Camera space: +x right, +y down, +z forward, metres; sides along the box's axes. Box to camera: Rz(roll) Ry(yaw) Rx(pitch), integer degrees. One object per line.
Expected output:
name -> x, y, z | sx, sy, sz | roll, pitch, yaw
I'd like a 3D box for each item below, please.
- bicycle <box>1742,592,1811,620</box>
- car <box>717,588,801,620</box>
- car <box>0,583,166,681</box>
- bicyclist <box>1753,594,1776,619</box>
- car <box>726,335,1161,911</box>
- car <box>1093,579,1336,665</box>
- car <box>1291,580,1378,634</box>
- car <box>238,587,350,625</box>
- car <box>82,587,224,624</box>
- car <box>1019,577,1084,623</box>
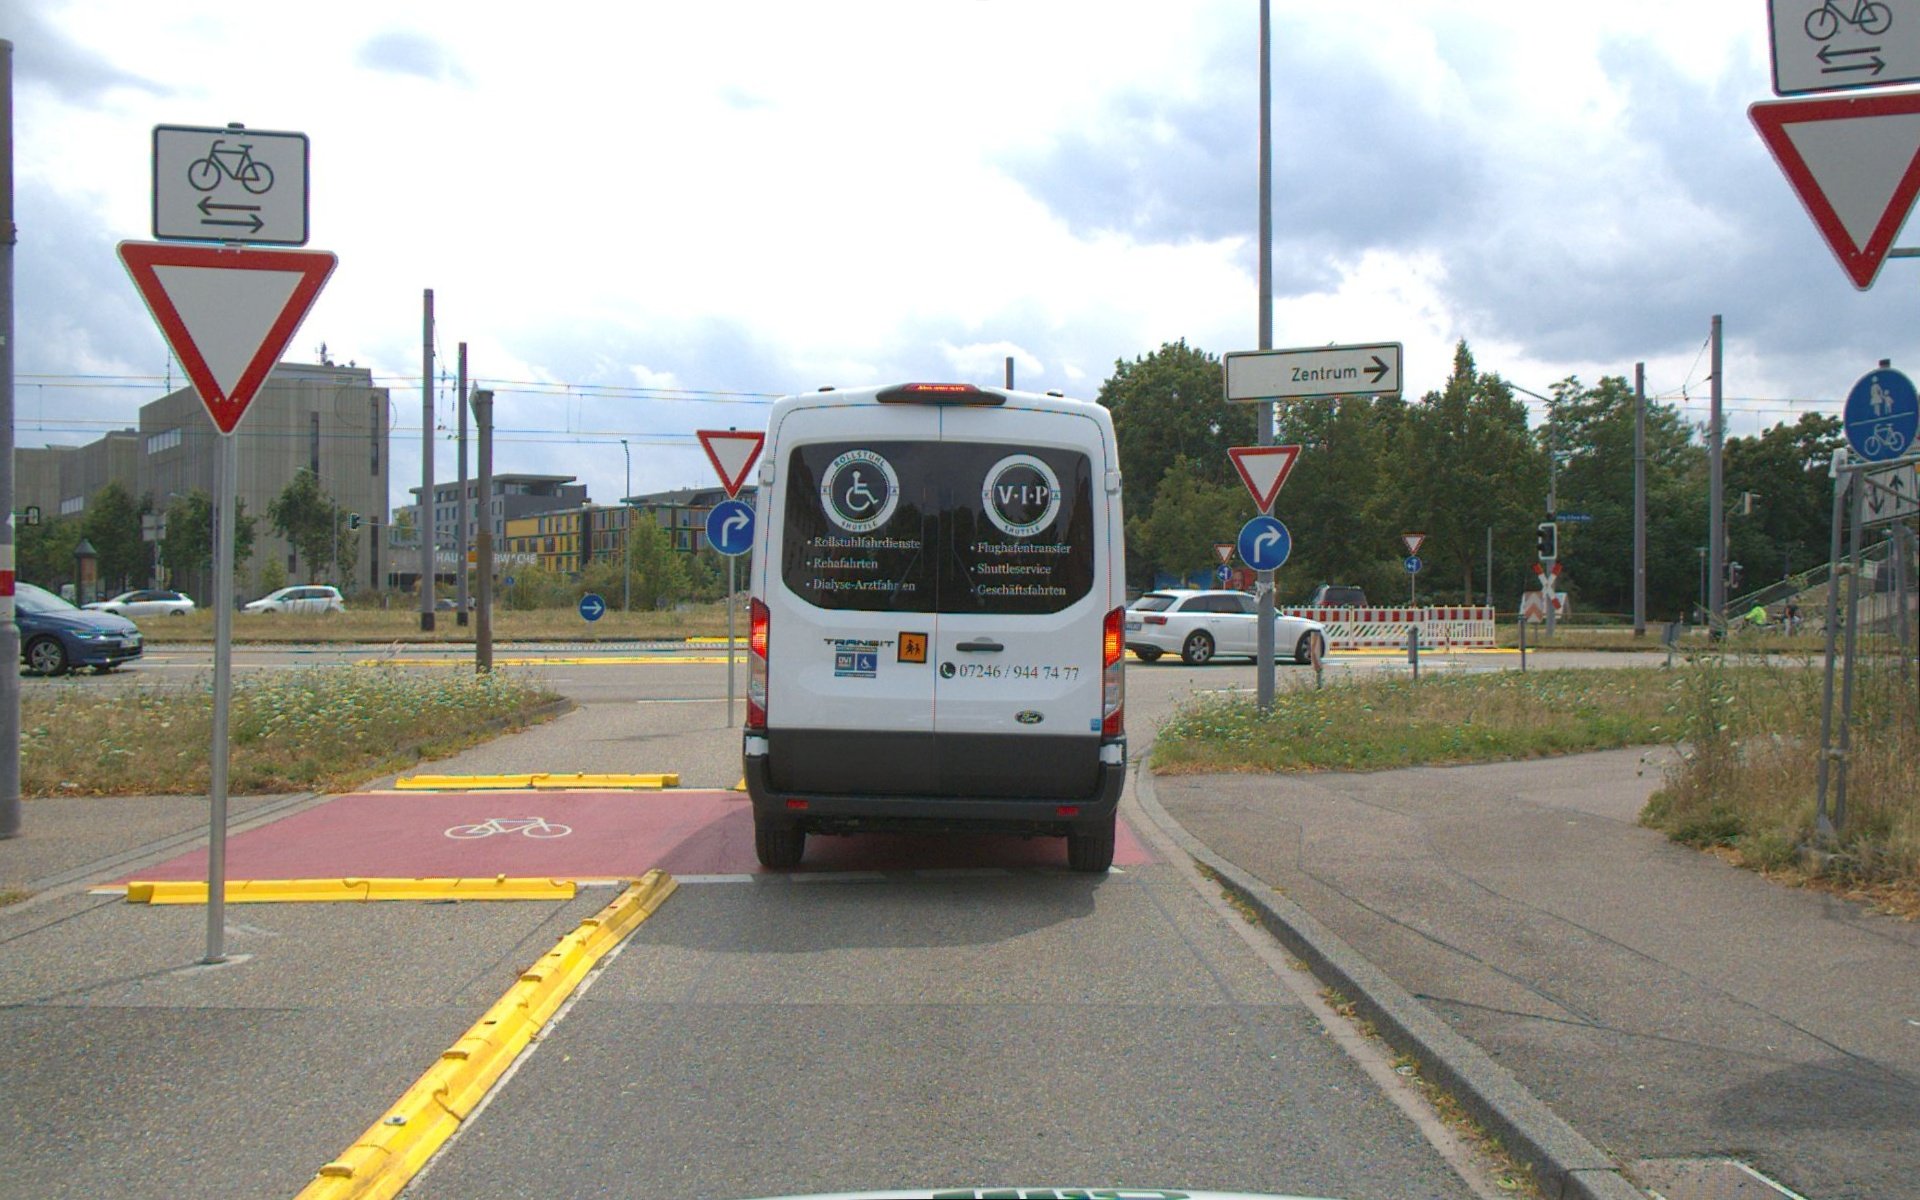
bicycle -> 29.286, 0.218, 59.327 | 2.162, 0.954, 0.611 | 0, -2, 39
car -> -11.012, 0.225, 90.844 | 4.318, 1.695, 1.909 | 0, 0, -42
car -> -15.308, 0.493, 26.773 | 4.018, 1.523, 1.802 | 0, 0, 1
bicyclist -> 28.977, 0.232, 59.564 | 0.645, 0.899, 0.604 | 0, -2, 38
car -> 0.049, 0.111, 10.736 | 2.082, 2.745, 5.633 | 0, 0, 3
car -> 5.206, 0.420, 33.692 | 4.683, 1.646, 1.981 | 0, 0, -28
car -> 12.844, 0.285, 56.959 | 1.953, 1.781, 3.998 | 0, -1, -2
car -> -30.183, 0.267, 75.041 | 1.905, 1.695, 4.326 | 0, 0, 43
car -> -34.439, 0.220, 70.693 | 1.967, 1.508, 5.146 | 0, 0, 45
car -> 4.827, 0.034, 88.025 | 1.995, 2.319, 4.134 | 1, -1, -20
